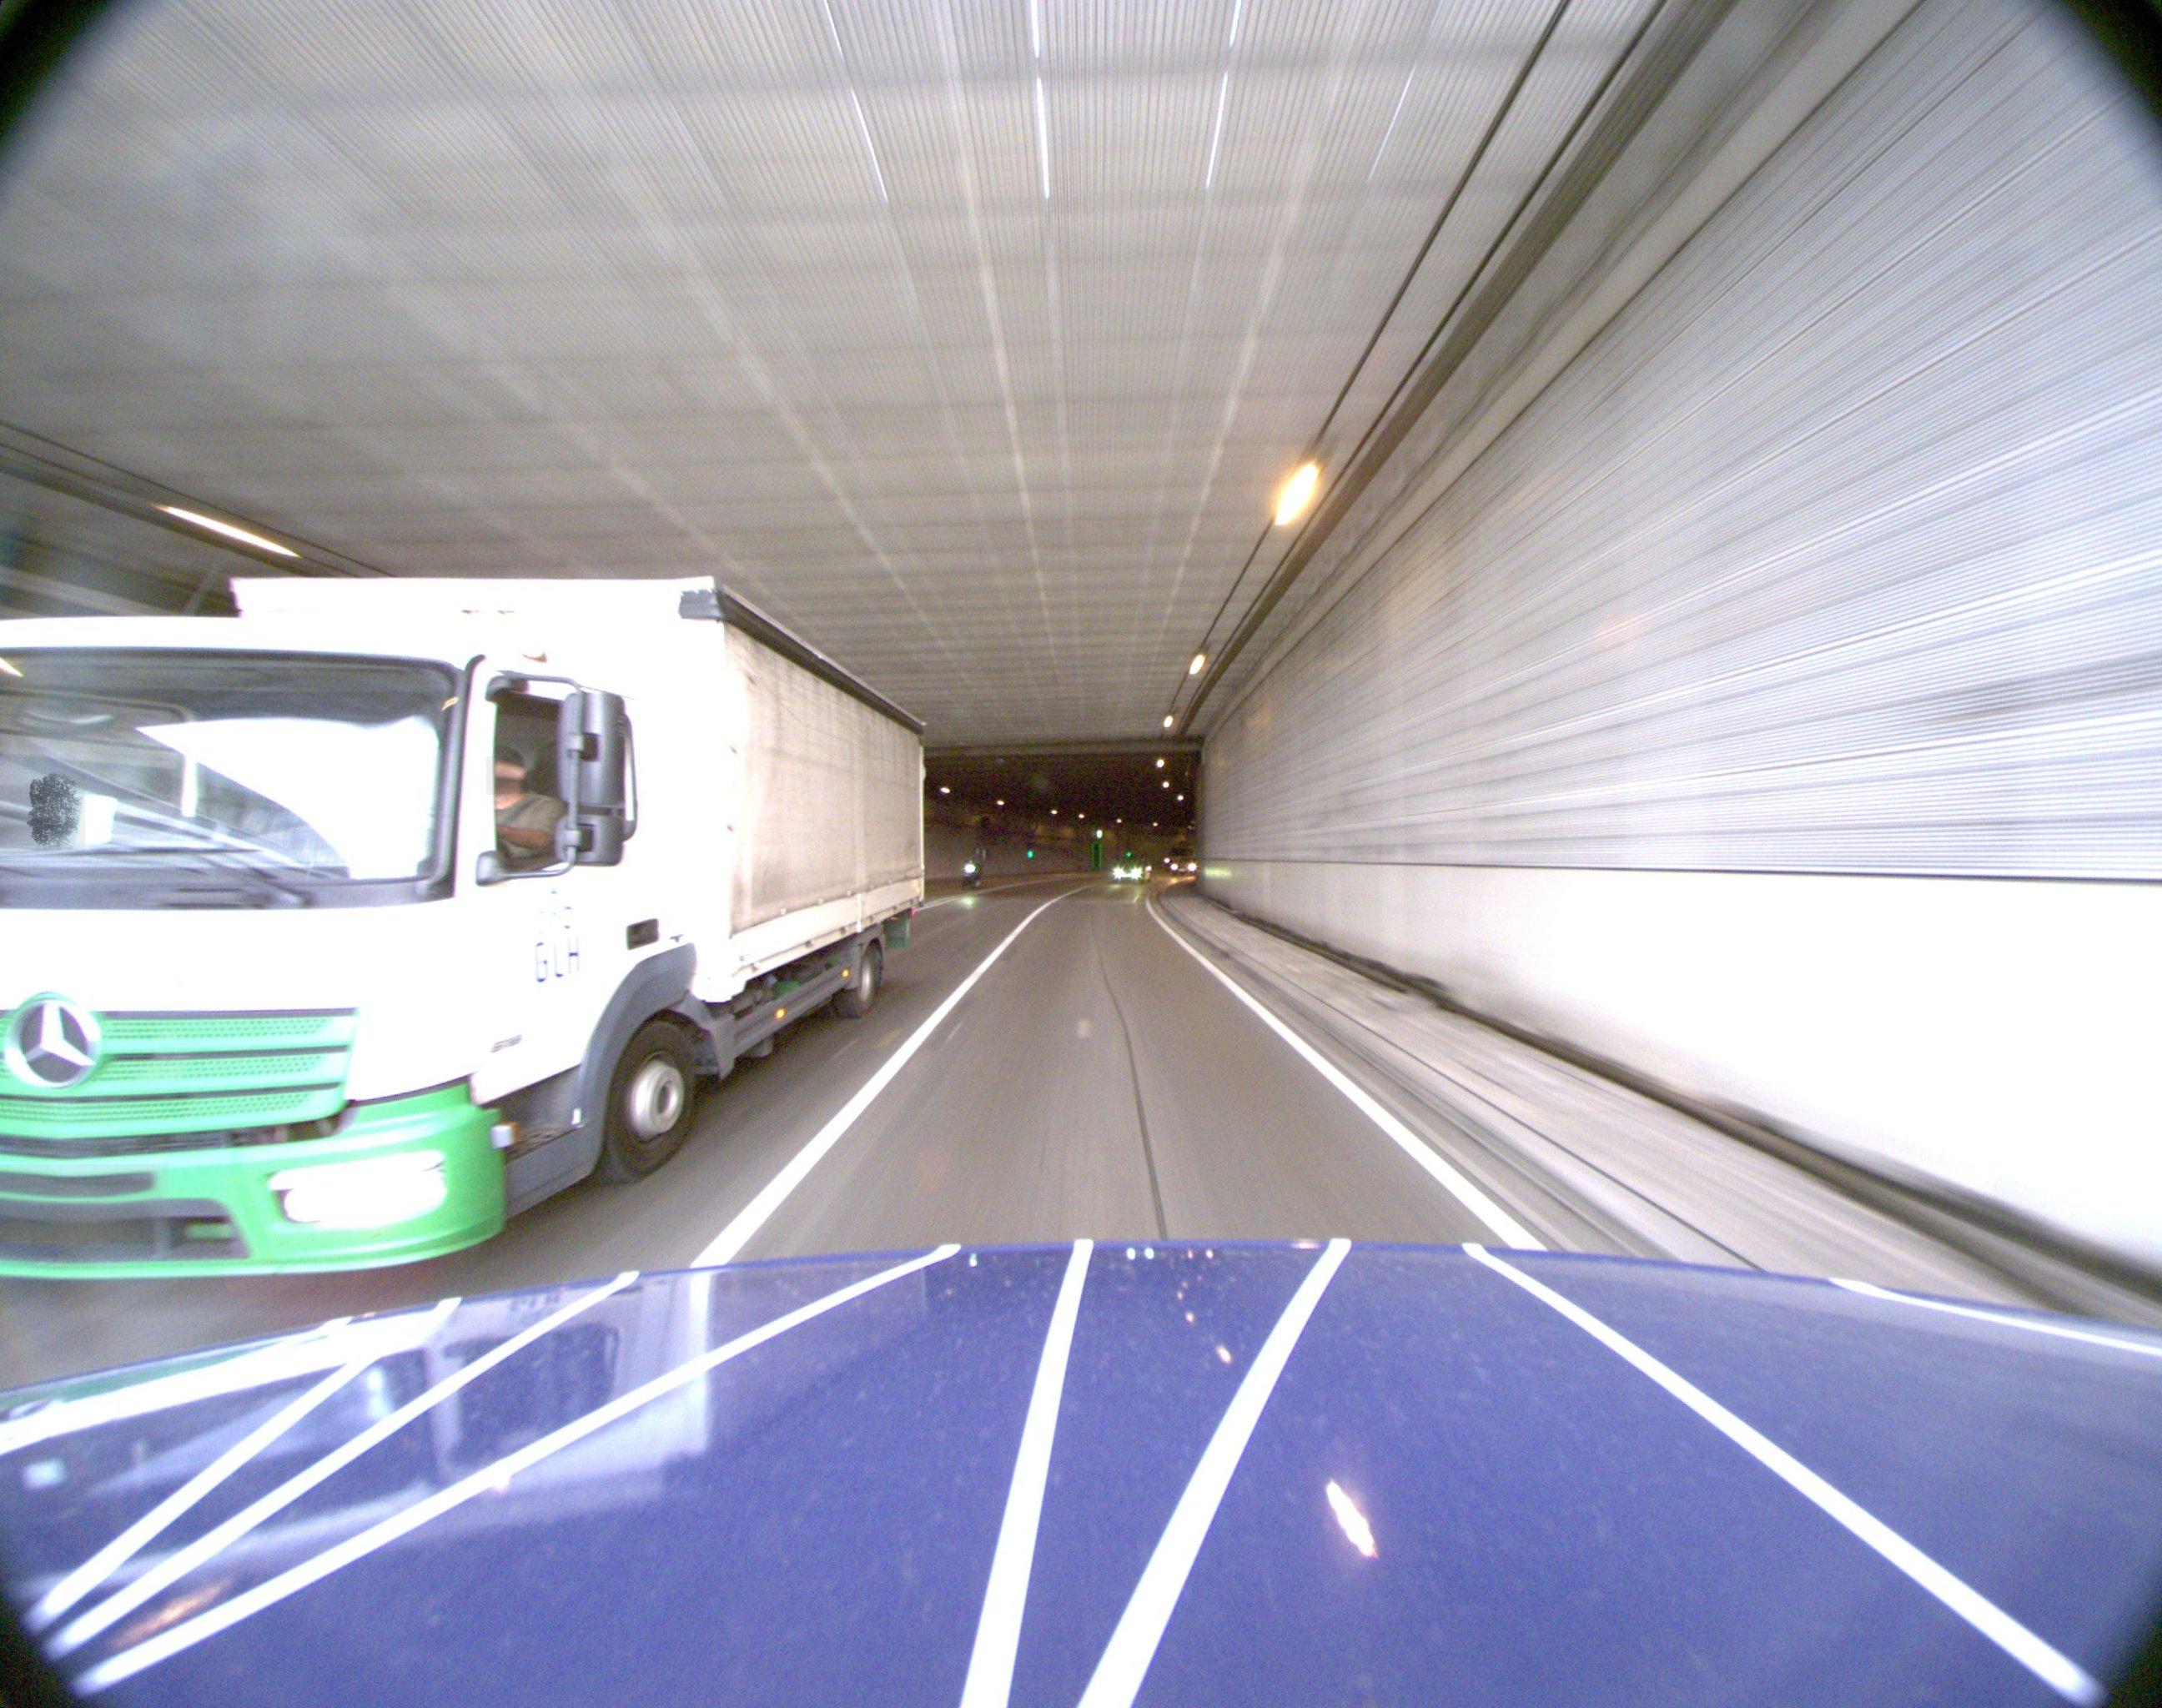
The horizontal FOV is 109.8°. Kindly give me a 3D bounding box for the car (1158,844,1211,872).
[{"bbox_3d":[7.987,0.285,57.989,2.371,1.914,5.207,-2,0,27],"label":"car"}]

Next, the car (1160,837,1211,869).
[{"bbox_3d":[9.597,-0.138,69.055,2.555,2.752,7.363,0,0,25],"label":"car"}]

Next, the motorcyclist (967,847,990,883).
[{"bbox_3d":[-4.272,0.456,31.715,0.746,1.482,0.787,-2,1,2],"label":"motorcyclist"}]

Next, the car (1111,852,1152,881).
[{"bbox_3d":[2.749,0.636,40.667,1.720,1.455,4.003,0,0,11],"label":"car"}]

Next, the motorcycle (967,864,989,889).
[{"bbox_3d":[-4.267,0.908,31.621,0.549,0.970,1.835,-2,0,3],"label":"motorcycle"}]

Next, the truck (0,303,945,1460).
[{"bbox_3d":[-3.080,0.087,5.830,2.636,3.220,7.415,-1,0,0],"label":"truck"}]
